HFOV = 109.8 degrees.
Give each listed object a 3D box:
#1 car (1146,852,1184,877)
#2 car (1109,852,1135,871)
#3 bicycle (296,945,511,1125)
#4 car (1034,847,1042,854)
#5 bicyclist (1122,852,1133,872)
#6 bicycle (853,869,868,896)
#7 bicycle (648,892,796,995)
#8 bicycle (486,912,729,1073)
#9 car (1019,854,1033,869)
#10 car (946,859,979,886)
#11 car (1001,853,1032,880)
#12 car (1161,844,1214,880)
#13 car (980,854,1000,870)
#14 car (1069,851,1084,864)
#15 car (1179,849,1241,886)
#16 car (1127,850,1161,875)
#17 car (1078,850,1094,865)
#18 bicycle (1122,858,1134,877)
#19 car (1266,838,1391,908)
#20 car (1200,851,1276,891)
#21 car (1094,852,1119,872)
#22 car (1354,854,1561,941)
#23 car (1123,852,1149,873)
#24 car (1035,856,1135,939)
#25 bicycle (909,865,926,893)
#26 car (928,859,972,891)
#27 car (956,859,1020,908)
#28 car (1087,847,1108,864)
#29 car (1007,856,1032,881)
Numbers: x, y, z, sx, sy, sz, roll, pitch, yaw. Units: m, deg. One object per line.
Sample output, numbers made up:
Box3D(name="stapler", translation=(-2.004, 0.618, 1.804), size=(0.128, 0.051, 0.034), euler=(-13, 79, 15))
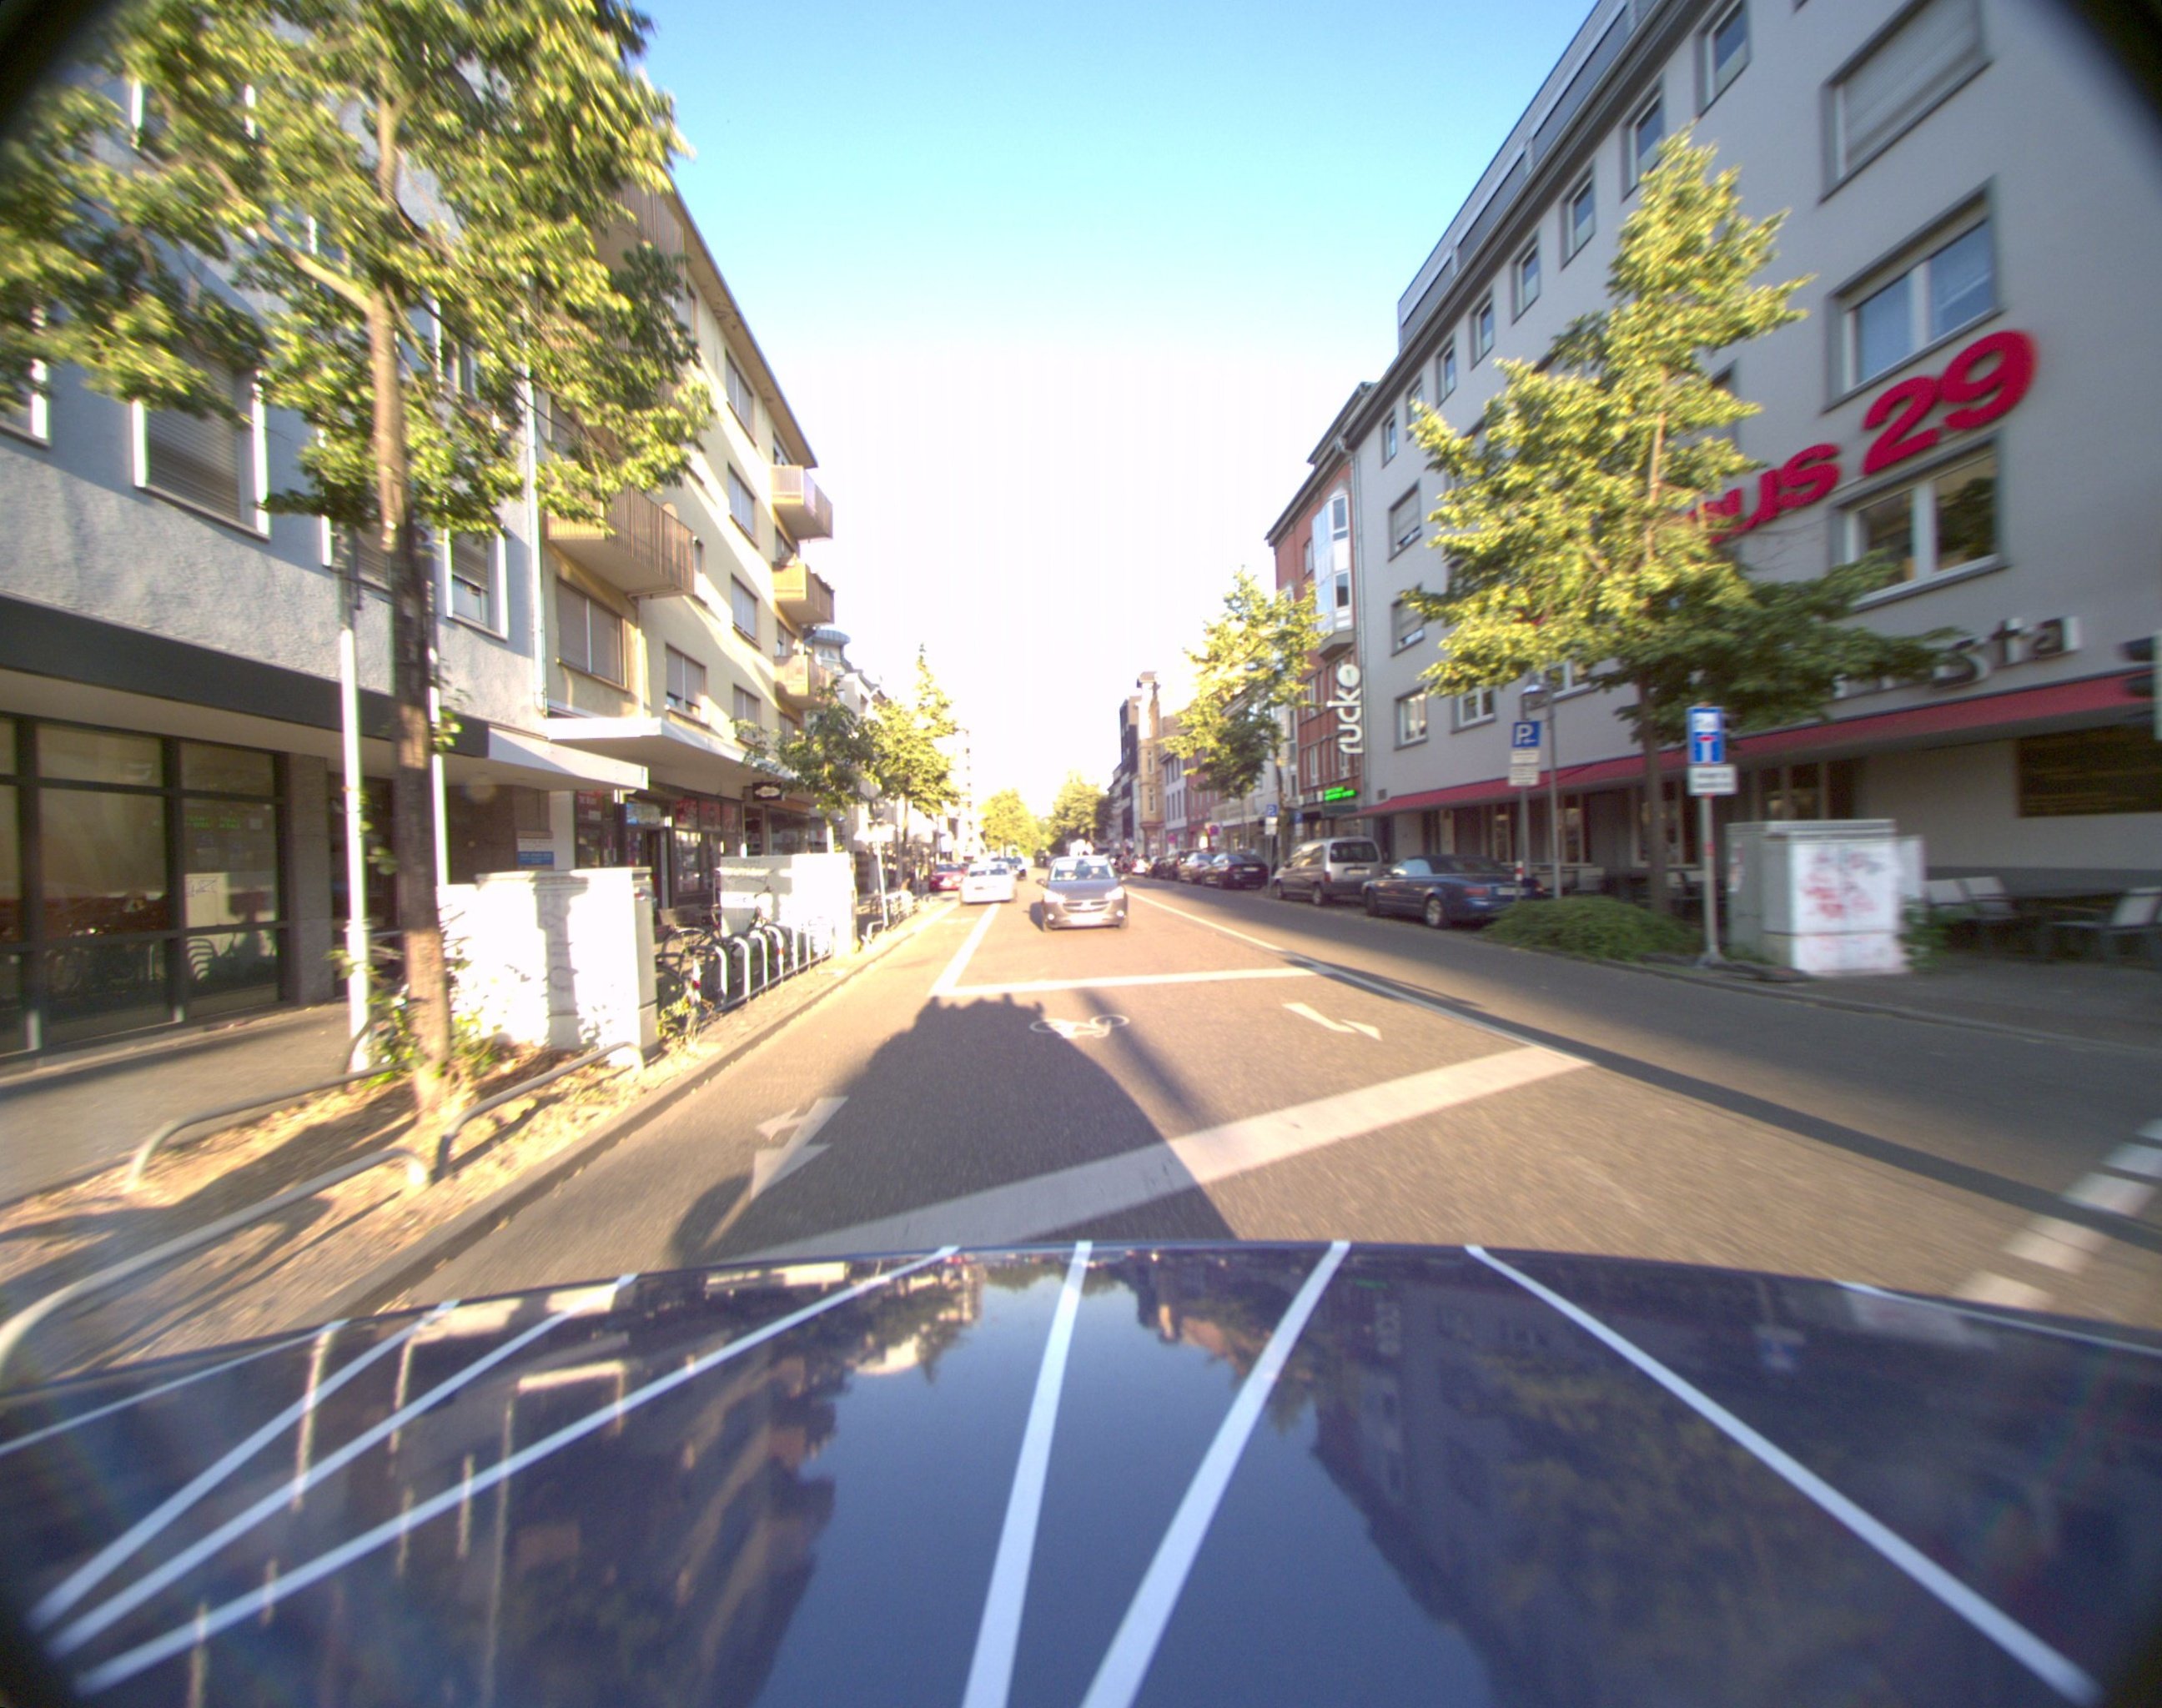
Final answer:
Box3D(name="car", translation=(5.370, 0.642, 49.056), size=(1.736, 1.516, 3.841), euler=(-2, 0, -4))
Box3D(name="car", translation=(3.527, 0.641, 66.658), size=(1.791, 1.504, 3.776), euler=(-2, 1, -4))
Box3D(name="bicycle", translation=(-5.154, 1.311, 5.916), size=(0.404, 1.004, 1.669), euler=(0, 0, -9))
Box3D(name="car", translation=(-10.458, -0.898, 184.302), size=(1.672, 1.630, 3.254), euler=(-4, 1, -3))
Box3D(name="bicyclist", translation=(3.097, 0.523, 50.561), size=(0.569, 1.295, 0.660), euler=(-4, 2, -5))
Box3D(name="bicycle", translation=(-9.873, 1.248, 34.022), size=(0.331, 1.123, 2.011), euler=(-1, 1, -7))
Box3D(name="bicycle", translation=(-4.698, 1.153, 10.051), size=(1.663, 1.187, 0.493), euler=(-2, 1, -16))
Box3D(name="bicycle", translation=(-3.995, 1.145, 6.502), size=(1.662, 1.187, 0.477), euler=(-2, 0, -9))
Box3D(name="car", translation=(-7.051, 0.963, 98.004), size=(1.693, 1.644, 3.732), euler=(-4, 1, -4))
Box3D(name="car", translation=(-7.030, 1.063, 45.357), size=(1.615, 1.386, 3.693), euler=(-4, 0, -5))
Box3D(name="car", translation=(-4.238, 0.815, 50.433), size=(1.896, 1.633, 3.748), euler=(-2, 1, -4))
Box3D(name="car", translation=(5.954, 0.457, 42.966), size=(1.973, 1.873, 4.946), euler=(-2, 0, -4))
Box3D(name="car", translation=(-9.165, 0.810, 77.026), size=(1.766, 1.563, 3.871), euler=(-2, 0, -3))
Box3D(name="car", translation=(-0.595, 0.460, 104.057), size=(1.788, 1.762, 3.871), euler=(-2, 0, -3))
Box3D(name="car", translation=(6.026, 0.585, 36.075), size=(1.896, 1.590, 4.943), euler=(-1, 0, -2))
Box3D(name="car", translation=(4.728, 0.586, 57.662), size=(1.877, 1.718, 4.138), euler=(-2, 1, -4))
Box3D(name="car", translation=(0.573, 0.447, 95.094), size=(1.766, 1.762, 3.871), euler=(-2, 0, -3))
Box3D(name="bicycle", translation=(3.115, 0.887, 50.608), size=(0.420, 1.230, 1.693), euler=(-4, 1, -6))
Box3D(name="car", translation=(6.705, 0.459, 21.071), size=(1.720, 1.654, 3.997), euler=(-4, 1, -7))
Box3D(name="car", translation=(6.205, 0.607, 30.516), size=(1.804, 1.385, 4.415), euler=(-2, 1, -5))
Box3D(name="car", translation=(2.328, 0.685, 70.970), size=(1.882, 1.667, 4.035), euler=(-4, 1, -4))
Box3D(name="car", translation=(7.083, 0.721, 14.856), size=(1.654, 1.345, 4.309), euler=(-1, 1, -5))
Box3D(name="car", translation=(4.500, 0.712, 62.820), size=(1.686, 1.581, 3.515), euler=(-2, 1, -3))
Box3D(name="car", translation=(-0.030, 0.810, 15.983), size=(1.588, 1.445, 3.840), euler=(-2, 1, -7))
Box3D(name="bicycle", translation=(-7.661, 1.140, 35.675), size=(0.505, 1.231, 1.711), euler=(-1, 1, -4))
Box3D(name="car", translation=(-6.540, 1.030, 38.212), size=(1.654, 1.420, 3.999), euler=(-4, 0, -4))
Box3D(name="car", translation=(-3.120, 0.956, 26.268), size=(1.790, 1.361, 4.571), euler=(-4, 1, -3))
Box3D(name="car", translation=(1.681, 0.150, 78.090), size=(1.796, 1.606, 3.971), euler=(-4, 1, -4))
Box3D(name="car", translation=(-4.494, 1.022, 55.338), size=(1.692, 1.534, 3.729), euler=(-4, 1, -5))
